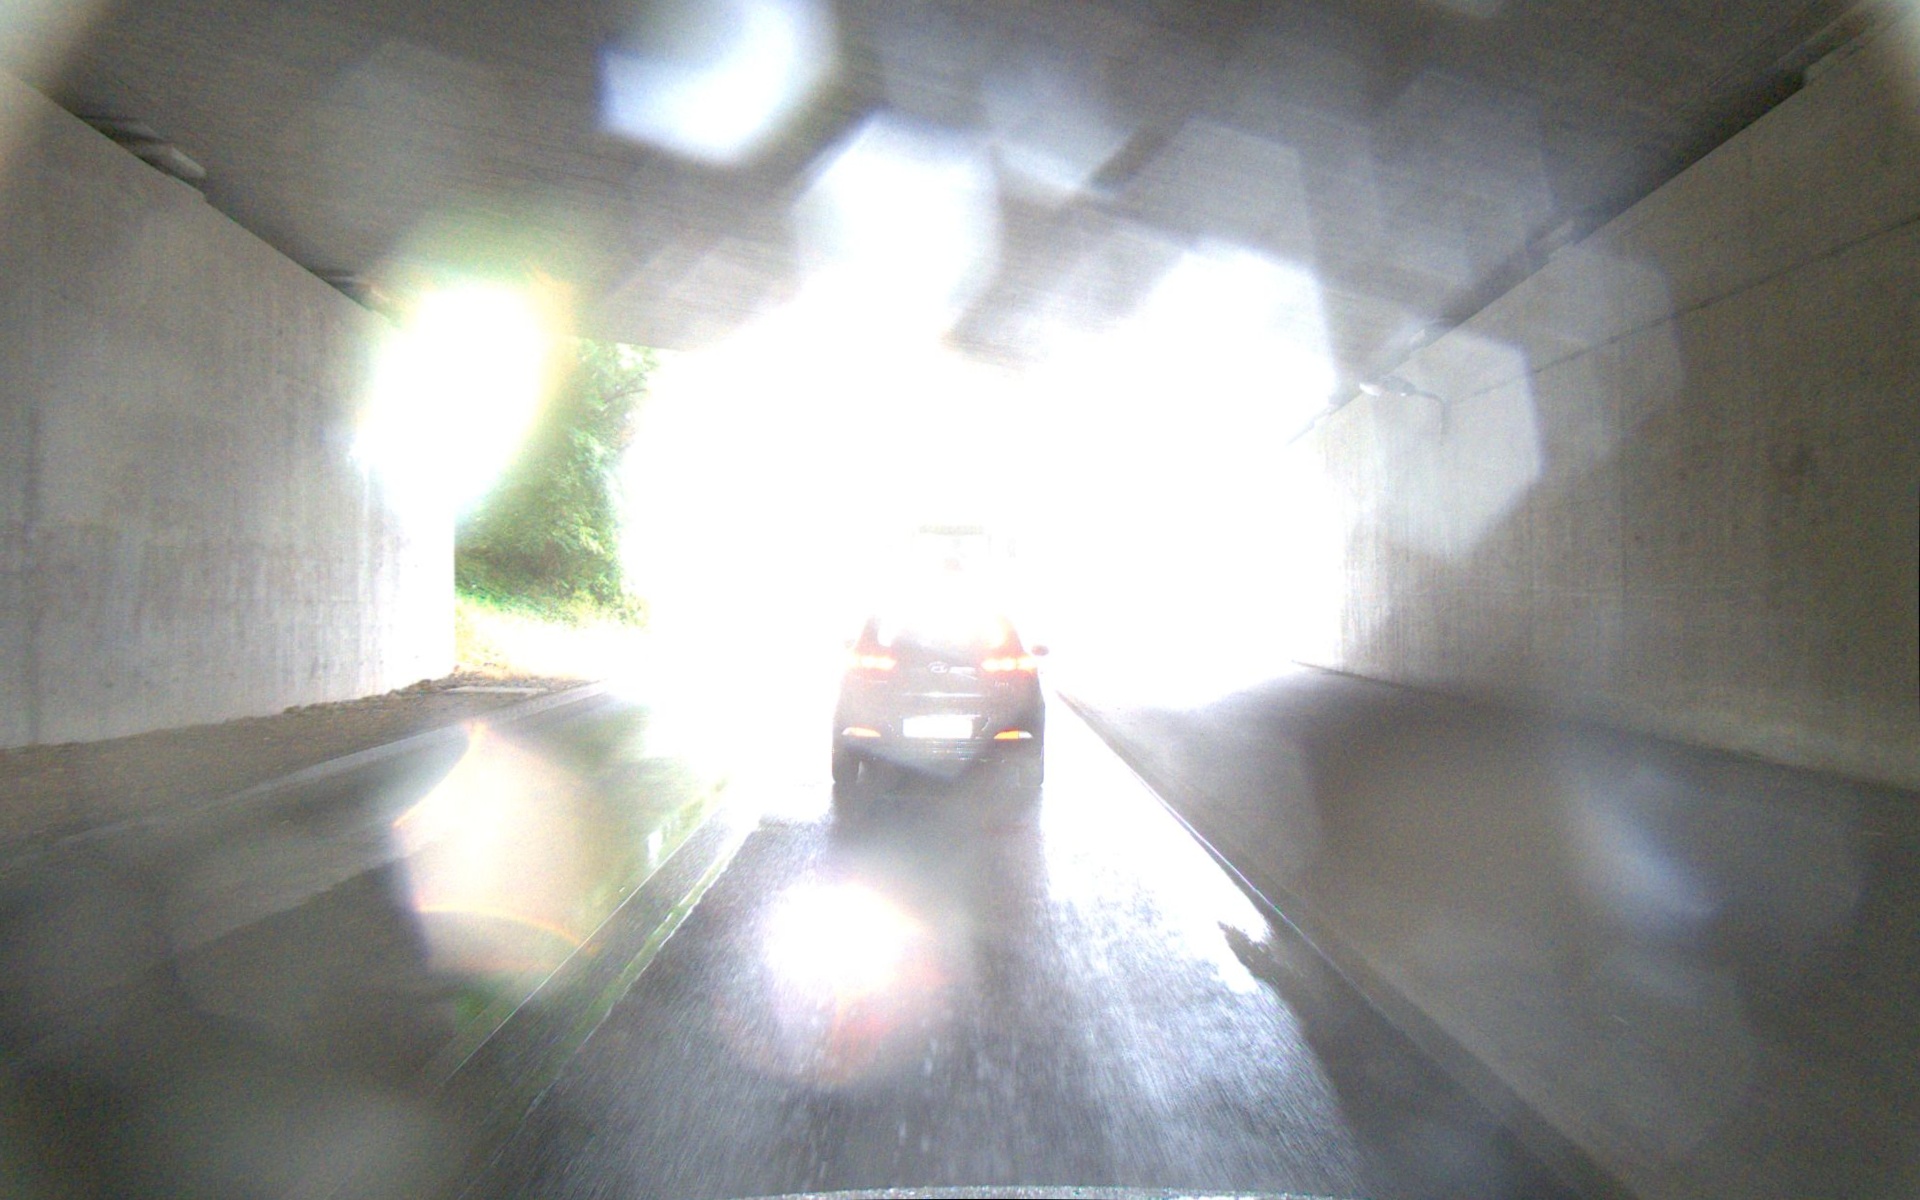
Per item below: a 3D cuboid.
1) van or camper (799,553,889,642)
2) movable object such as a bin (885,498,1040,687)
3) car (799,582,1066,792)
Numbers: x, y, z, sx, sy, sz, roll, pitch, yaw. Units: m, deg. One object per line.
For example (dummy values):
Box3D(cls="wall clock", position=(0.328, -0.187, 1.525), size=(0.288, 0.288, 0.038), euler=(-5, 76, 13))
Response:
Box3D(cls="van or camper", position=(-2.973, -0.063, 43.194), size=(1.953, 2.135, 4.691), euler=(2, 0, 0))
Box3D(cls="movable object such as a bin", position=(-0.052, -0.126, 27.594), size=(2.200, 2.716, 6.624), euler=(2, 0, -2))
Box3D(cls="car", position=(-0.333, 0.638, 14.300), size=(1.954, 1.513, 3.997), euler=(2, 0, -4))
